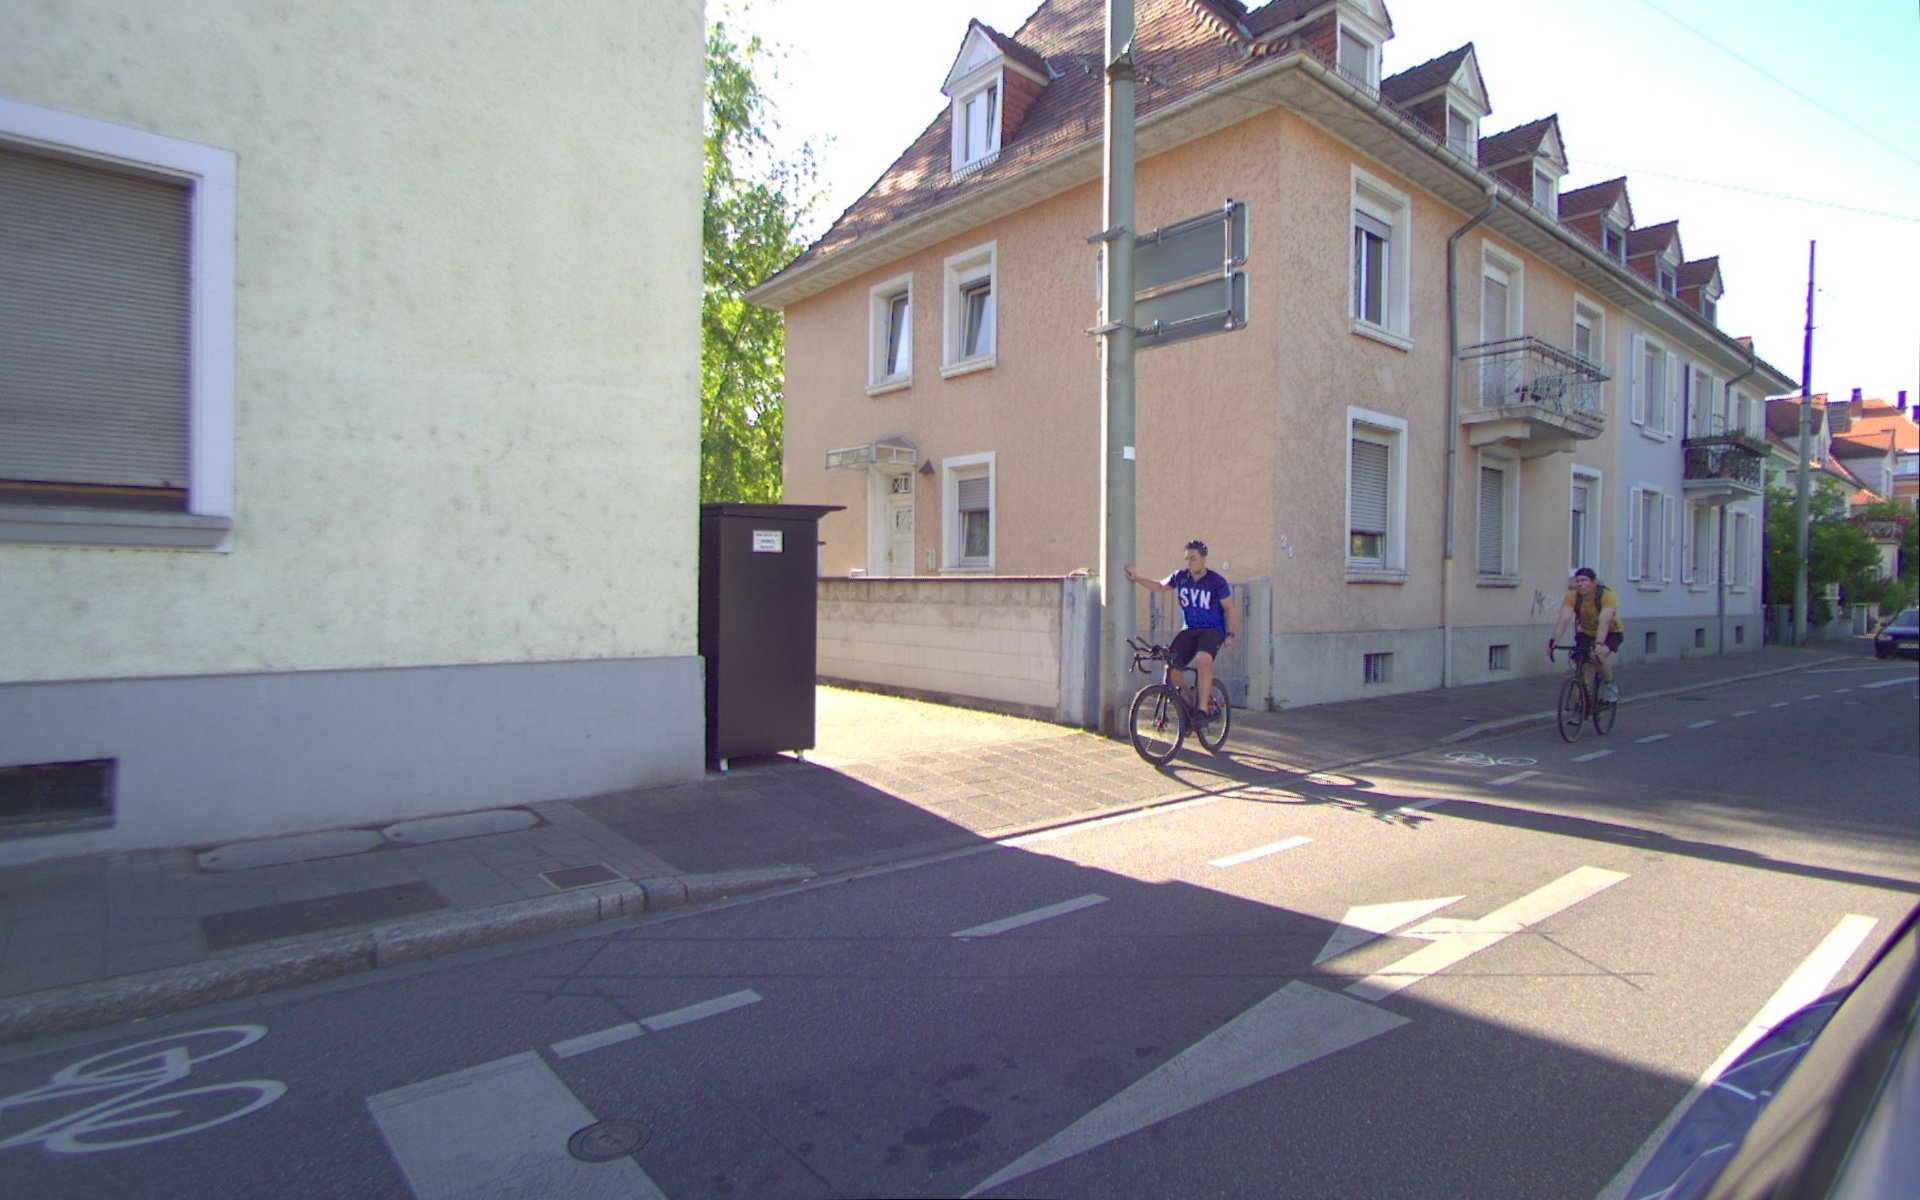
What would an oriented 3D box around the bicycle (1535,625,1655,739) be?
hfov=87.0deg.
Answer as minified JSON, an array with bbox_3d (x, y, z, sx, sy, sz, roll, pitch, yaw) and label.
[{"bbox_3d":[6.988,0.852,11.102,1.778,1.101,0.611,0,1,-41],"label":"bicycle"}]

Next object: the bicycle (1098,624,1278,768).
[{"bbox_3d":[2.049,0.797,8.968,1.689,1.064,0.595,0,6,-41],"label":"bicycle"}]

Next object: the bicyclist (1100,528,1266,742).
[{"bbox_3d":[2.022,0.271,9.244,0.838,1.758,1.072,0,6,-40],"label":"bicyclist"}]

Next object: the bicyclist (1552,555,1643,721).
[{"bbox_3d":[7.022,0.387,11.144,0.939,1.743,0.582,0,1,-41],"label":"bicyclist"}]

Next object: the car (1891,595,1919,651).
[{"bbox_3d":[26.639,0.615,27.330,3.932,1.438,1.845,0,1,-42],"label":"car"}]
